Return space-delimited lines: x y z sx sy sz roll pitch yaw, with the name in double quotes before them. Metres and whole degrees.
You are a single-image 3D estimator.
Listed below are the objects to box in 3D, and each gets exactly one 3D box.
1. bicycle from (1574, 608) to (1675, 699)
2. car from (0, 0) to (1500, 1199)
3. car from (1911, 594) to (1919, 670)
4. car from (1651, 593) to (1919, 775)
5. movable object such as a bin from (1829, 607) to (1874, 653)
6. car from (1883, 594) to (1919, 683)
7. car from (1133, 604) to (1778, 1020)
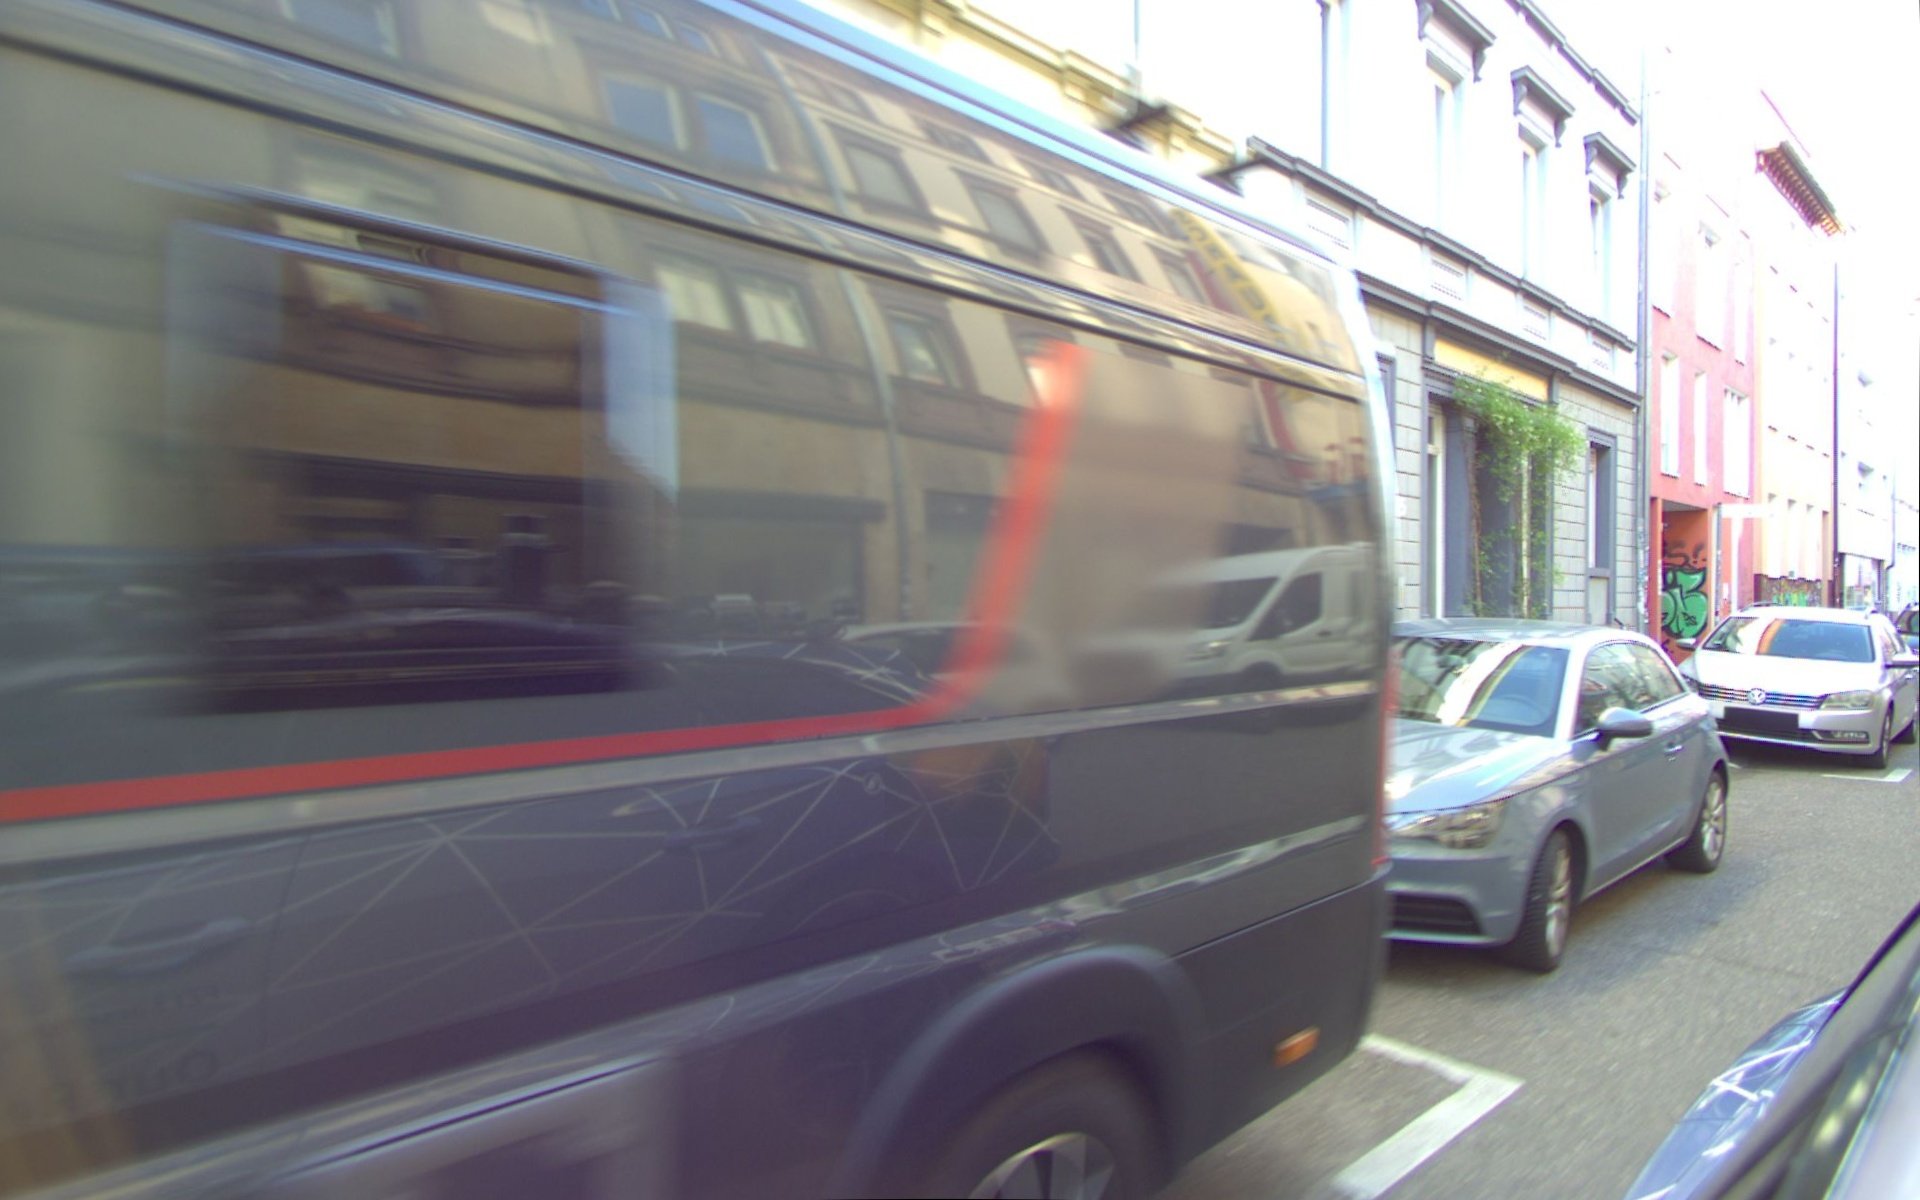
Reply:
"bicycle" 9.313 0.709 14.151 1.869 1.110 0.711 -1 3 -43
"car" -1.689 0.187 1.402 6.198 2.455 2.179 0 2 -41
"car" 21.966 0.671 21.739 4.096 1.575 1.750 0 0 -39
"car" 9.219 0.724 10.922 4.468 1.472 1.790 0 3 -41
"movable object such as a bin" 22.041 0.730 25.027 0.723 1.071 0.694 0 3 -40
"car" 18.497 0.709 18.710 3.388 1.558 1.606 0 3 -39
"car" 2.965 0.765 5.627 4.098 1.462 1.751 0 0 -40
